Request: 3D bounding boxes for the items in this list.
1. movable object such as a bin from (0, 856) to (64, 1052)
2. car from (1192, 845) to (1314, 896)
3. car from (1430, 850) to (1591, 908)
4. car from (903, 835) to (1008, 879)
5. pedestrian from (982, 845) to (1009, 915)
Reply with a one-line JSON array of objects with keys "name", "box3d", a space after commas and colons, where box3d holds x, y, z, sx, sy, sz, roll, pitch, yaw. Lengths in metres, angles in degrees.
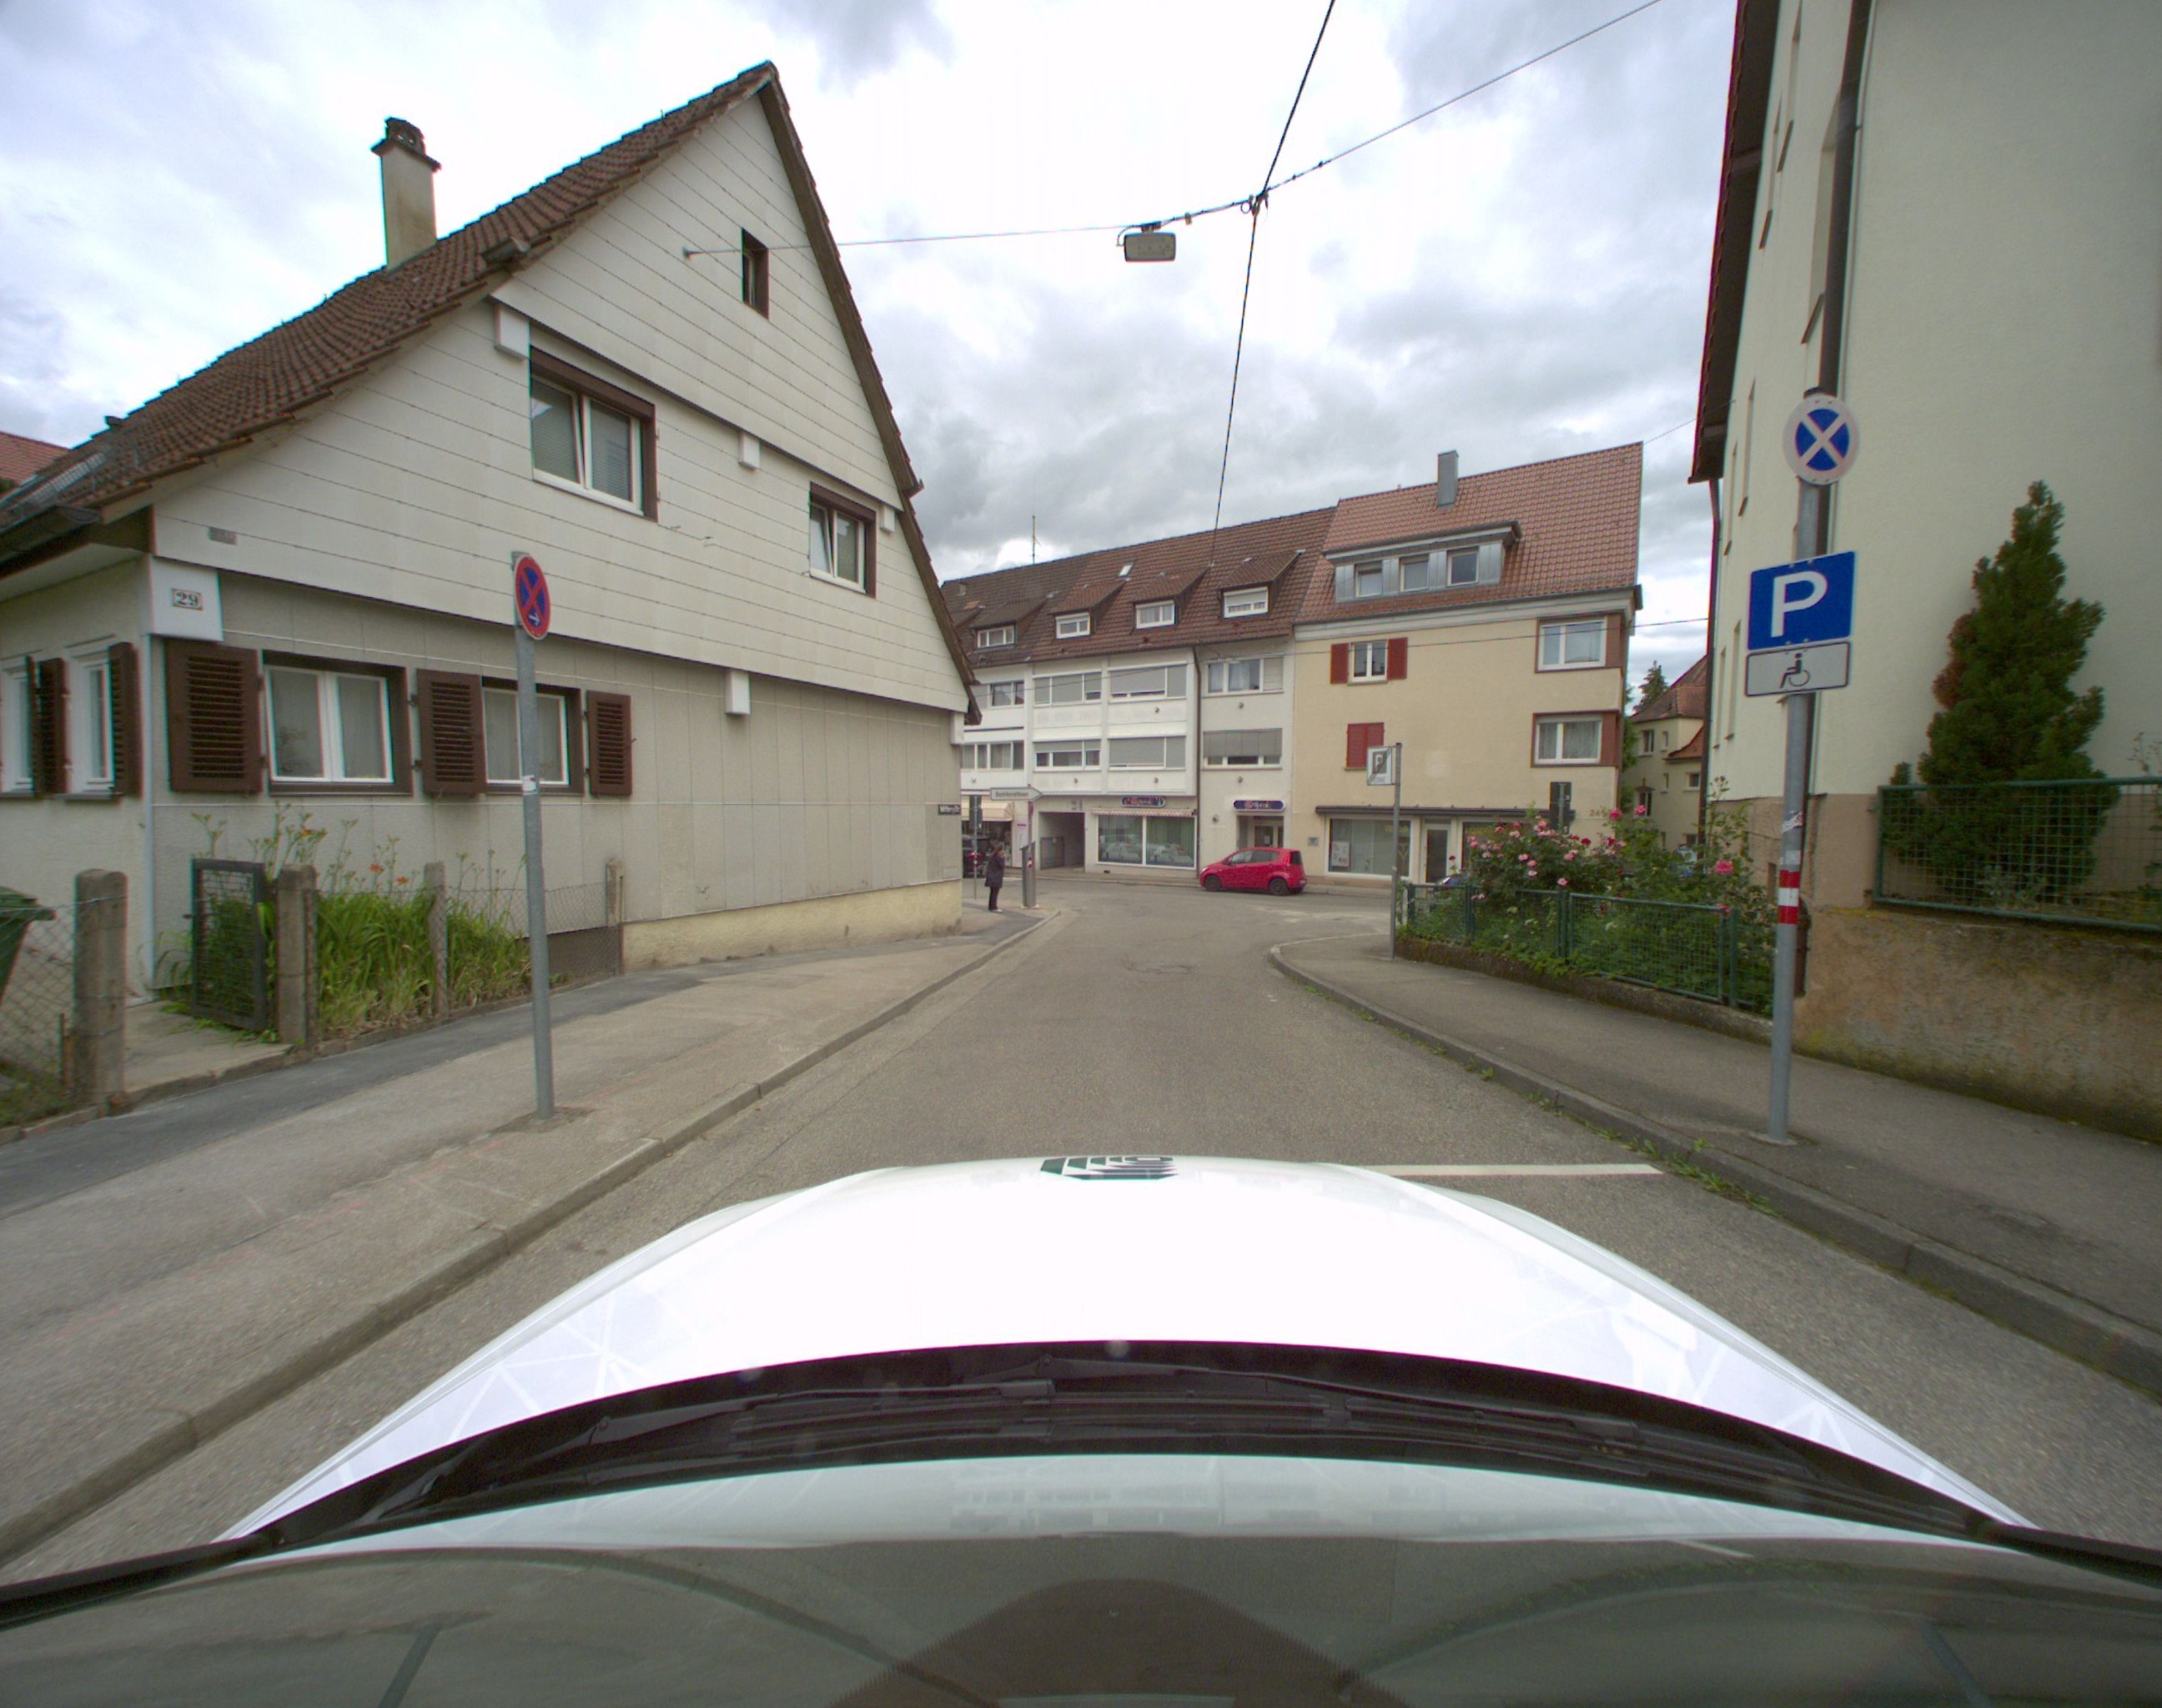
[{"name": "movable object such as a bin", "box3d": [-5.315, 0.464, 3.832, 0.522, 0.884, 0.493, 4, -1, 25]}, {"name": "car", "box3d": [5.834, 0.518, 27.779, 3.648, 1.556, 1.708, 2, 1, 36]}, {"name": "car", "box3d": [12.287, 0.668, 23.384, 3.869, 1.450, 1.708, 2, 0, 35]}, {"name": "car", "box3d": [-5.473, 0.080, 35.216, 4.312, 1.779, 1.960, 1, 2, 35]}, {"name": "pedestrian", "box3d": [-2.102, 0.616, 19.991, 0.646, 1.684, 0.603, 1, 1, -8]}]
